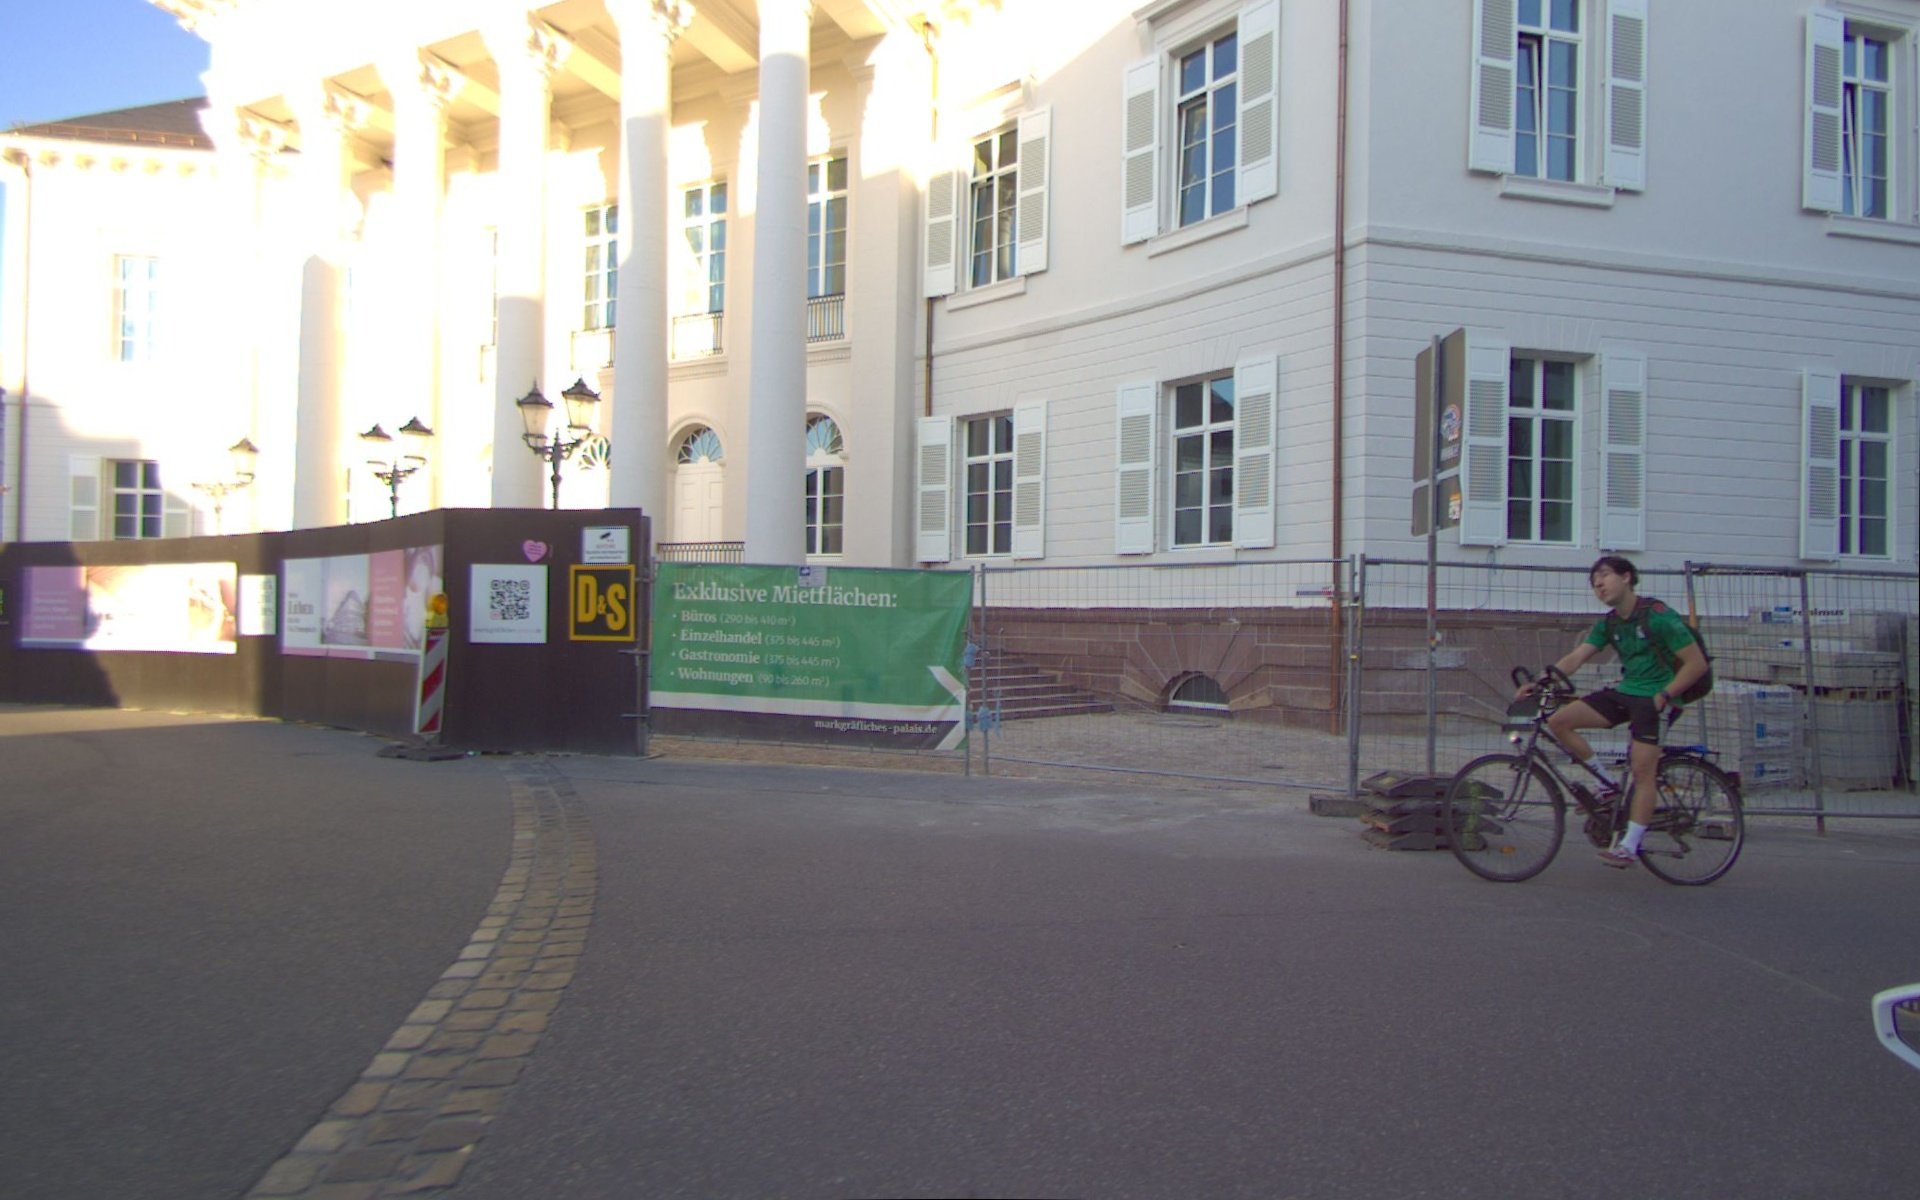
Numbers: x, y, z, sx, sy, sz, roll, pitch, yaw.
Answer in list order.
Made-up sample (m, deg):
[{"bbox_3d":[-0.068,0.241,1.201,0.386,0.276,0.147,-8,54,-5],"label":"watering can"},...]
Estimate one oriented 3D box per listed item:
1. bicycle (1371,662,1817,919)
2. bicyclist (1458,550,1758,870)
[{"bbox_3d":[3.511,0.987,5.611,2.194,1.233,0.797,1,-1,-13],"label":"bicycle"},{"bbox_3d":[3.598,0.575,5.634,1.209,1.624,0.797,1,-1,-13],"label":"bicyclist"}]
